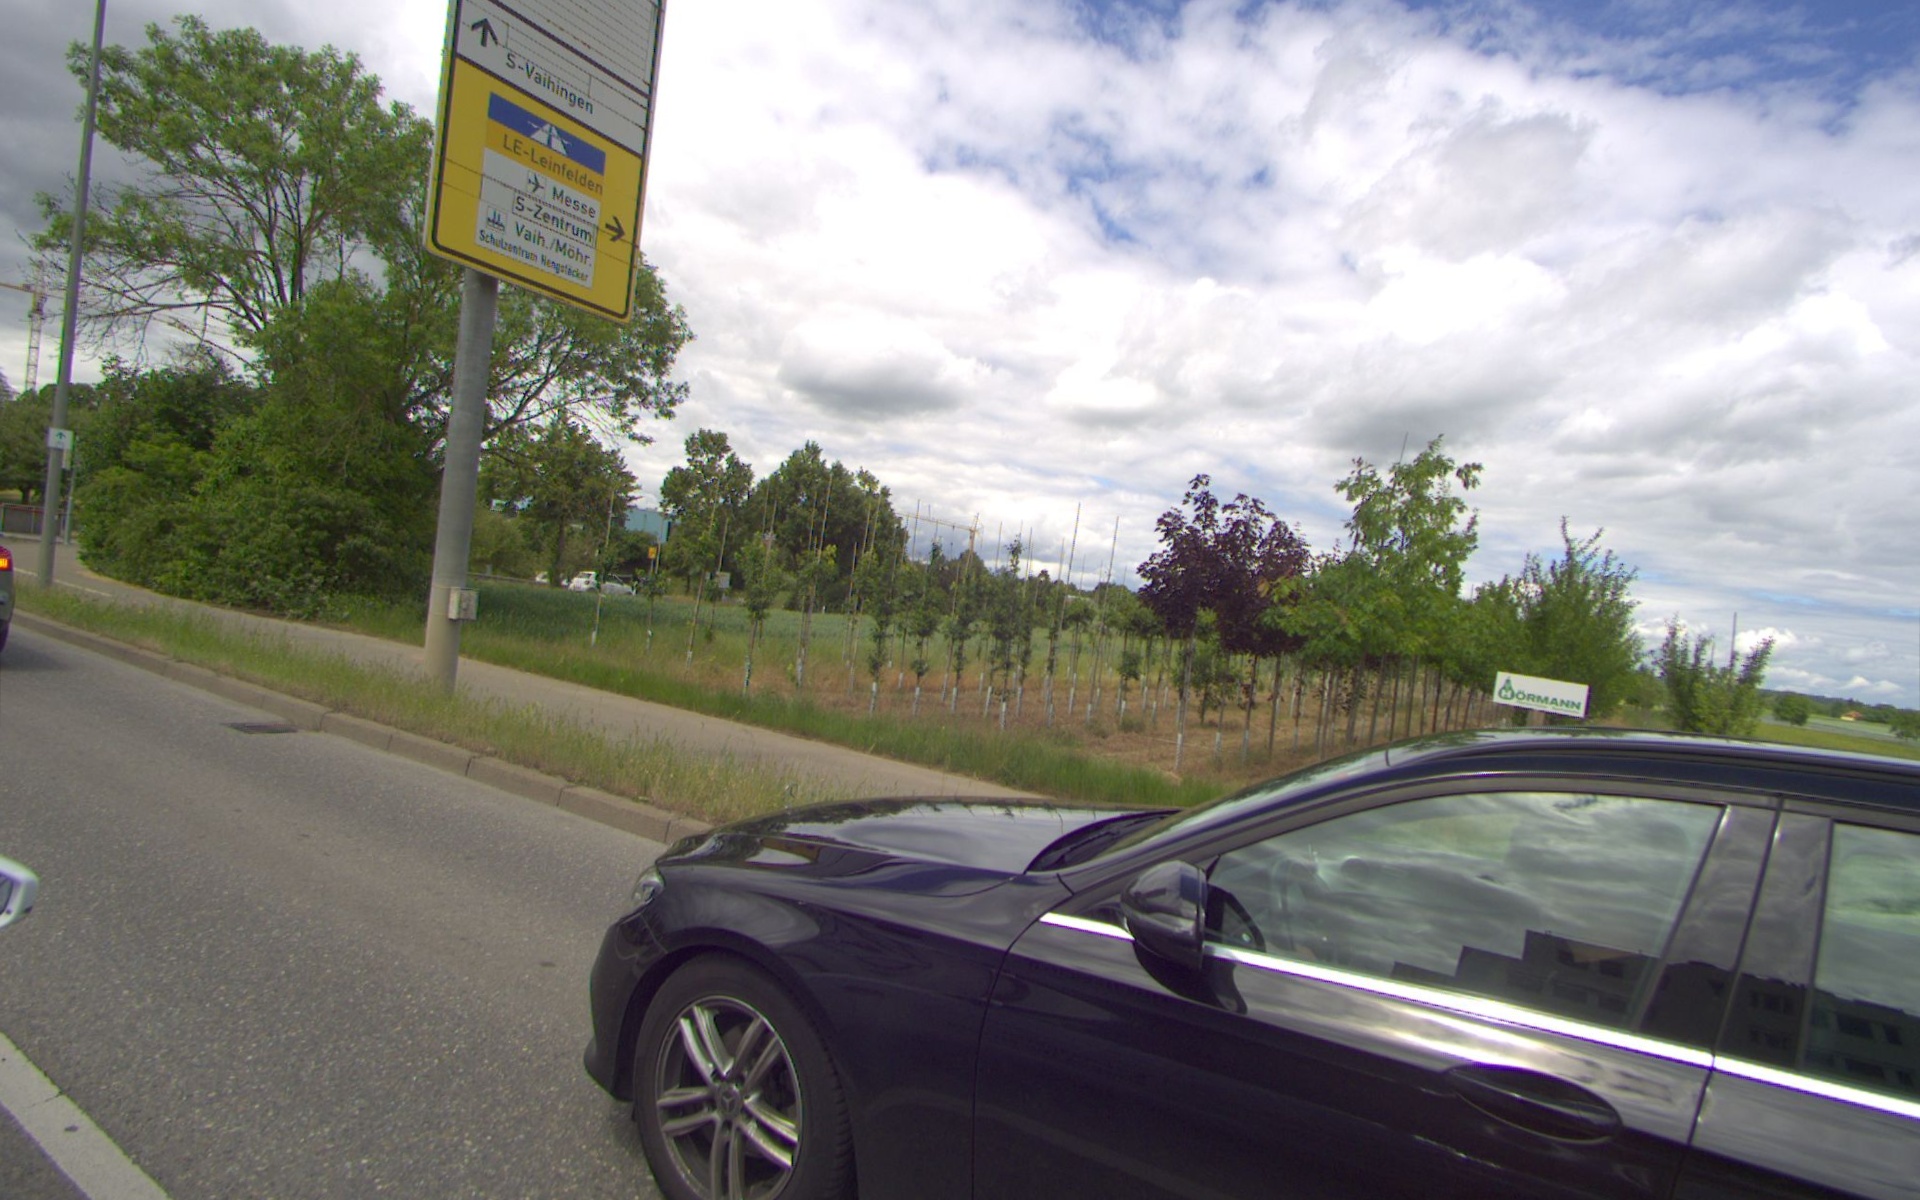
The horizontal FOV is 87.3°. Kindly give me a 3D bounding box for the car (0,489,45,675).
[{"bbox_3d":[-10.167,-0.412,8.966,4.374,1.537,1.864,7,0,33],"label":"car"}]

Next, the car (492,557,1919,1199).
[{"bbox_3d":[1.541,0.946,2.098,5.111,1.459,1.875,7,0,30],"label":"car"}]

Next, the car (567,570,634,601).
[{"bbox_3d":[-19.916,-0.775,55.852,1.657,1.361,3.392,7,-1,18],"label":"car"}]

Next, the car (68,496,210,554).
[{"bbox_3d":[-31.783,-2.887,39.015,1.973,1.615,3.979,7,-1,43],"label":"car"}]
